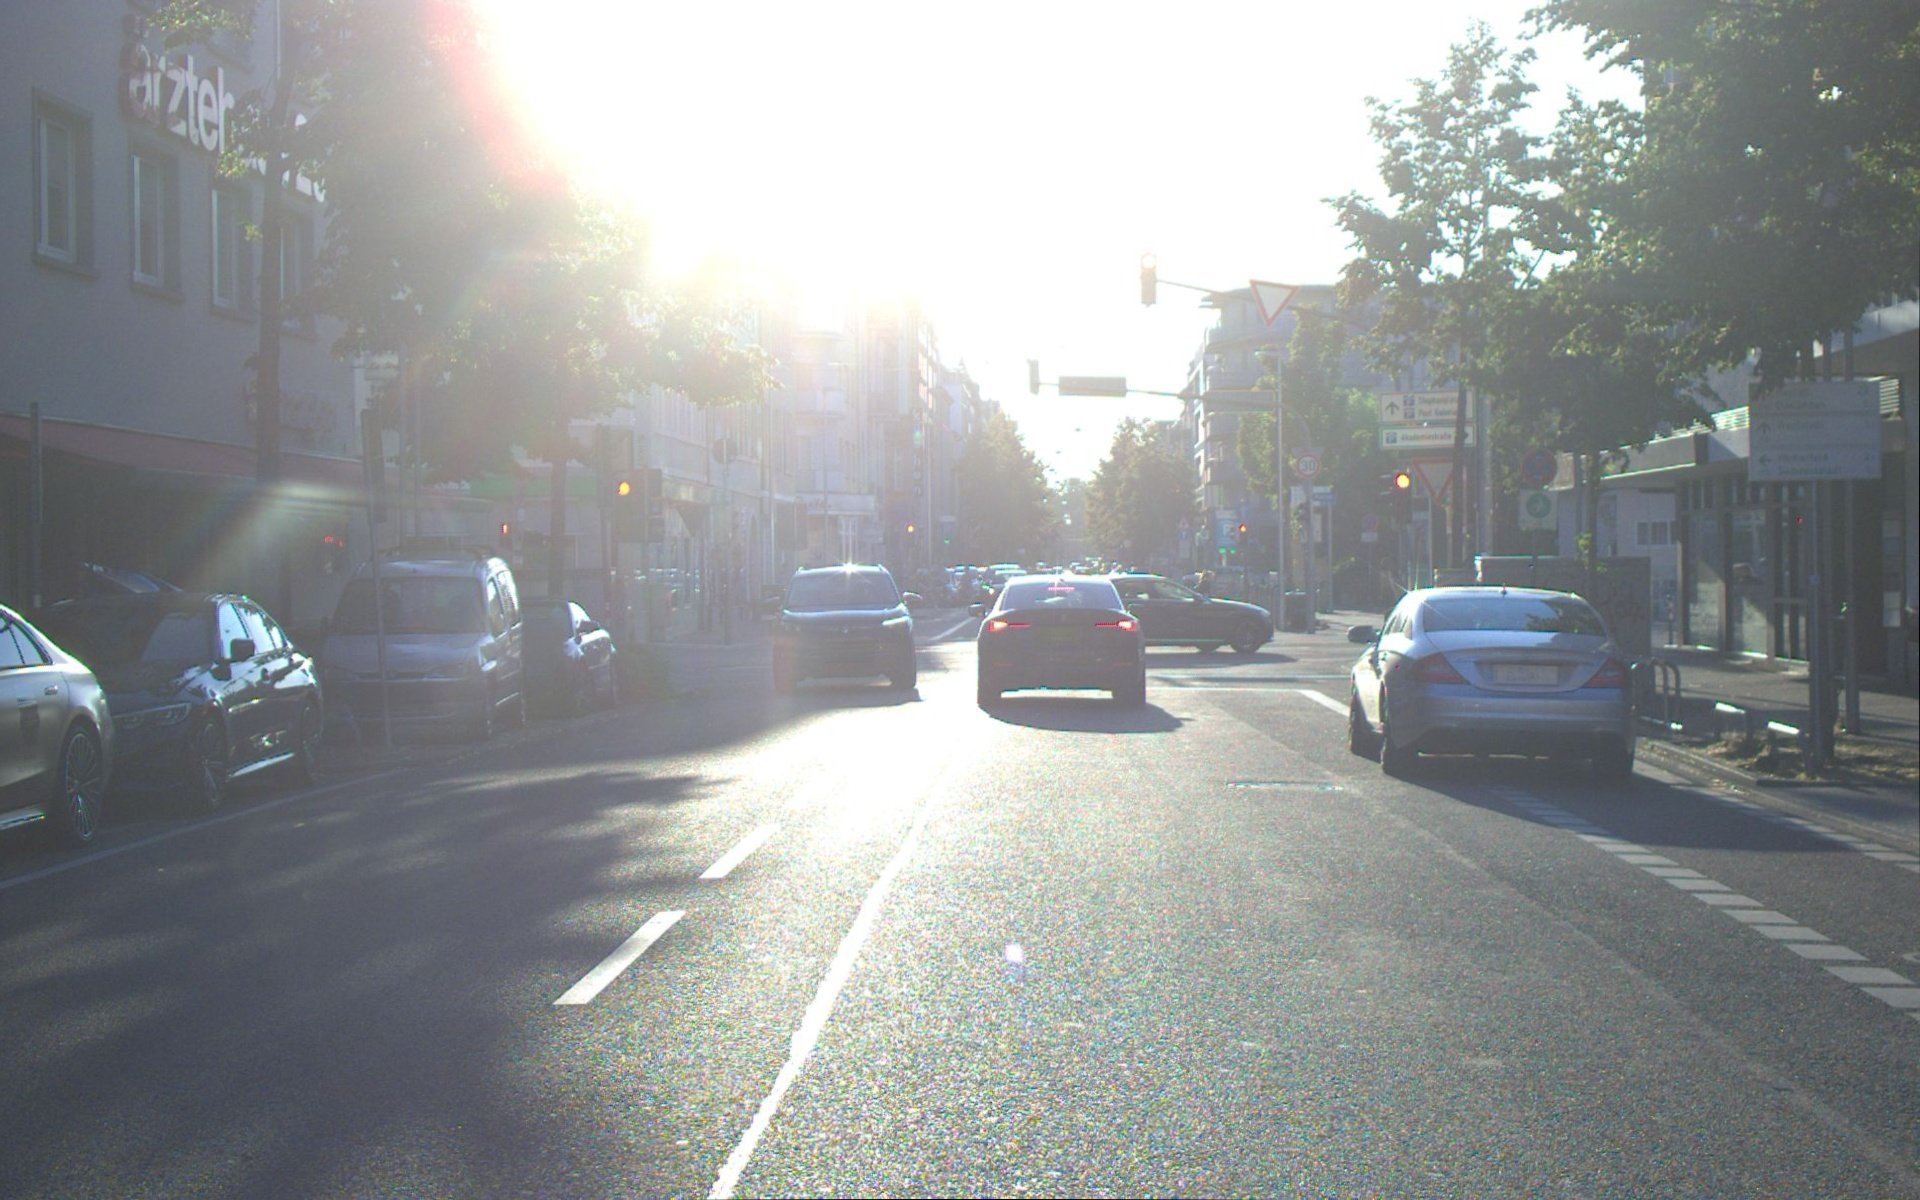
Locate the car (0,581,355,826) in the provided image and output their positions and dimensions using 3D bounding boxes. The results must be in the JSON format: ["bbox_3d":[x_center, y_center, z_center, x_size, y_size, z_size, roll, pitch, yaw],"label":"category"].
[{"bbox_3d":[-5.567,0.641,23.447,1.827,1.434,4.553,-3,0,3],"label":"car"}]

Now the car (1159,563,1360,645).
[{"bbox_3d":[5.530,0.054,63.489,3.343,1.422,1.571,-1,2,-19],"label":"car"}]

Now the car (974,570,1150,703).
[{"bbox_3d":[1.202,0.373,39.097,1.884,1.410,4.325,0,1,3],"label":"car"}]

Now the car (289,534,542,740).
[{"bbox_3d":[-5.159,0.315,33.068,1.833,1.848,4.124,0,0,-1],"label":"car"}]

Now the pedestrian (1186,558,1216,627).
[{"bbox_3d":[5.800,-0.175,82.703,0.573,1.639,0.528,-1,2,-19],"label":"pedestrian"}]

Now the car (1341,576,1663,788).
[{"bbox_3d":[4.066,0.560,26.474,1.922,1.410,4.548,2,1,3],"label":"car"}]

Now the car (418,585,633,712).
[{"bbox_3d":[-4.874,0.512,39.057,1.833,1.323,4.124,0,1,1],"label":"car"}]

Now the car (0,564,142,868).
[{"bbox_3d":[-5.887,0.640,17.647,1.827,1.551,5.135,-2,1,3],"label":"car"}]

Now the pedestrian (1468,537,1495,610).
[{"bbox_3d":[12.322,-0.628,81.257,0.494,1.709,0.462,-1,2,-17],"label":"pedestrian"}]

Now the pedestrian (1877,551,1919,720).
[{"bbox_3d":[9.005,0.320,32.111,0.688,1.553,0.862,-1,0,3],"label":"pedestrian"}]

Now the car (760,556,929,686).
[{"bbox_3d":[-1.498,0.245,46.311,1.922,1.596,4.325,0,2,3],"label":"car"}]
